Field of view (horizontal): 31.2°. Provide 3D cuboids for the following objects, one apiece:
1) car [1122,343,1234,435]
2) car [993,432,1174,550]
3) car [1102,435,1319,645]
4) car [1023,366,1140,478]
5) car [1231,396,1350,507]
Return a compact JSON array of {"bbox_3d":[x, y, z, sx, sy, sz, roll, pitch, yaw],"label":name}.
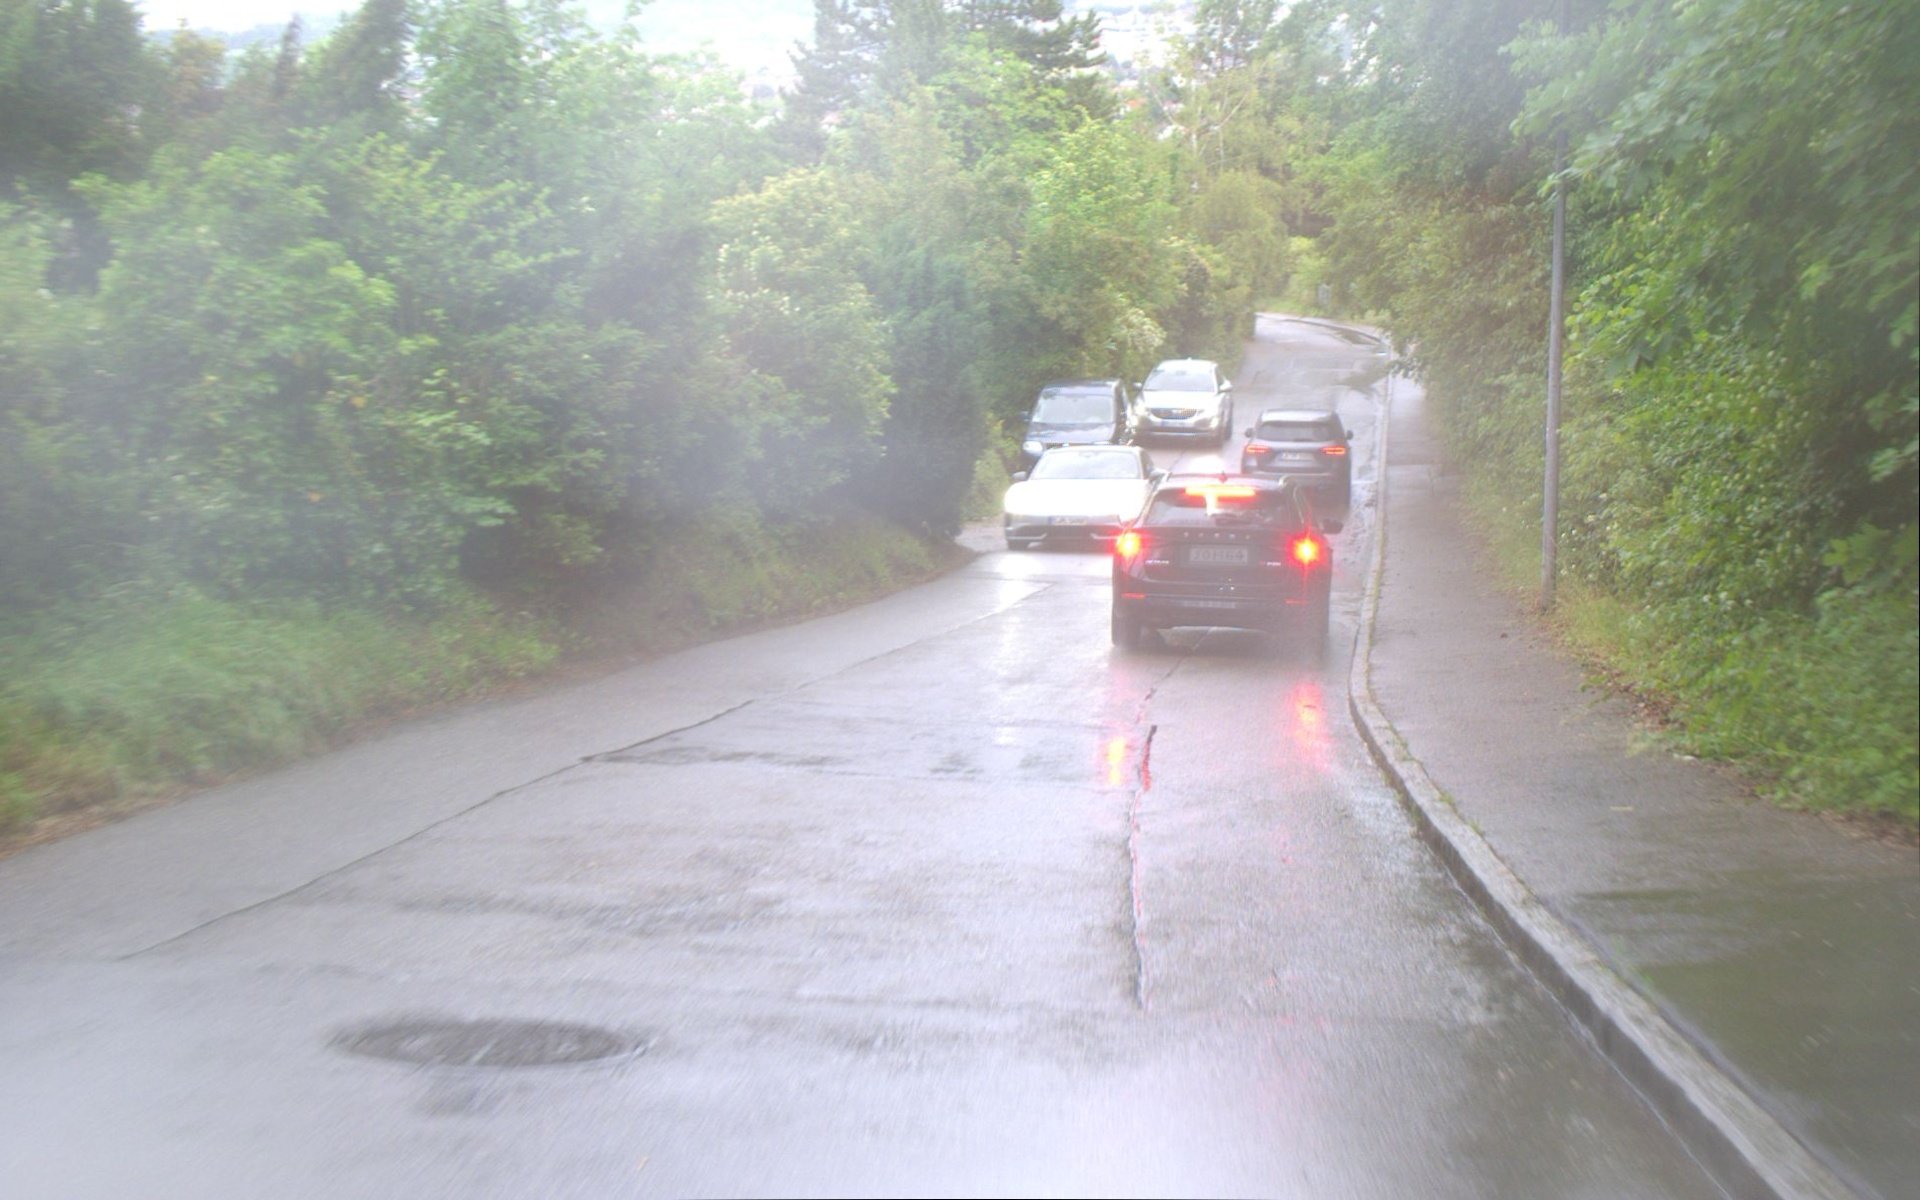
[{"bbox_3d":[4.587,-4.428,71.731,2.048,1.595,4.230,3,7,6],"label":"car"},{"bbox_3d":[1.787,-1.515,48.169,1.942,1.517,4.578,2,2,9],"label":"car"},{"bbox_3d":[2.113,-0.567,29.166,1.700,1.445,4.001,1,6,4],"label":"car"},{"bbox_3d":[2.222,-3.243,61.994,1.690,1.776,4.232,1,6,8],"label":"car"},{"bbox_3d":[5.545,-2.452,57.421,1.863,1.737,3.999,2,2,6],"label":"car"}]
